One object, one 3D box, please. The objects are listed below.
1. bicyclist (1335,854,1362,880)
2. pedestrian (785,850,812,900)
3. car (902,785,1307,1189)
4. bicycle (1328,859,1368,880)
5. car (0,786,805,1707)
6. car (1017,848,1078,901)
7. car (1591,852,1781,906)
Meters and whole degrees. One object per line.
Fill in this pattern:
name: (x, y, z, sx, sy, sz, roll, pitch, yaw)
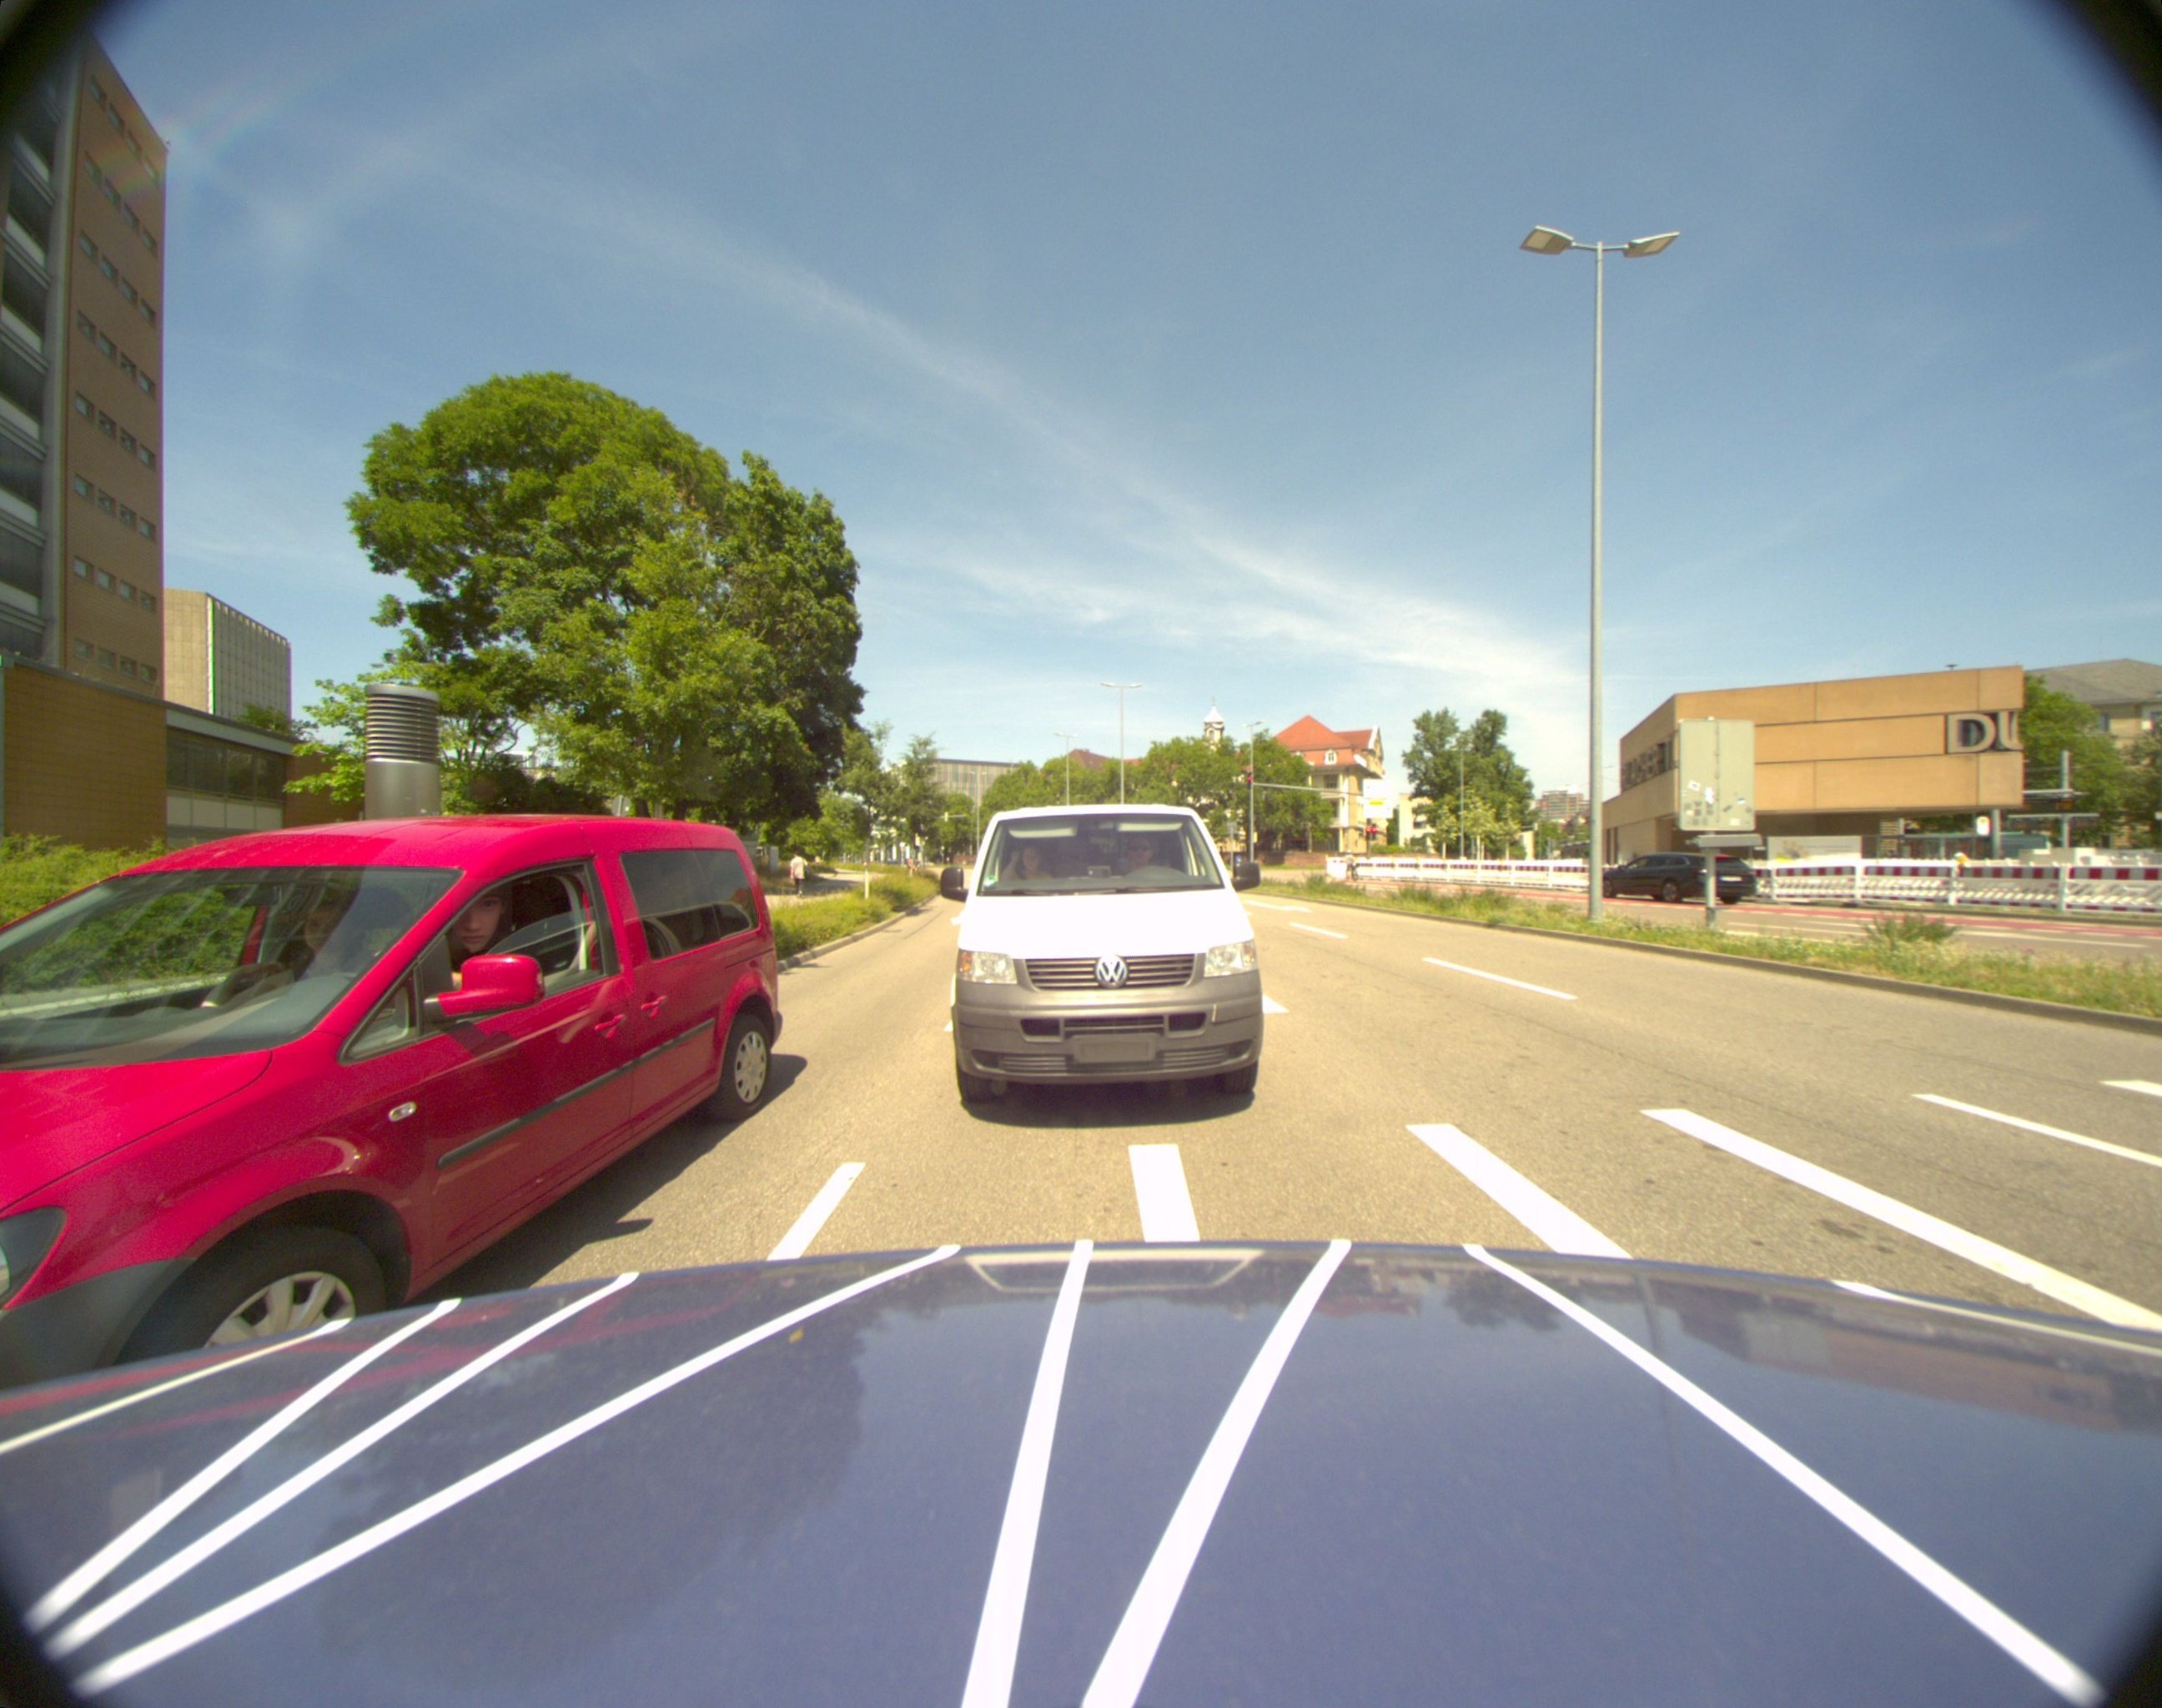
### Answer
bicyclist: (14.322, 0.675, 40.713, 0.587, 1.348, 1.438, -3, 1, -14)
pedestrian: (-10.201, 0.764, 27.489, 0.728, 1.787, 0.614, 0, 1, 1)
car: (0.086, 0.655, 6.235, 1.971, 1.958, 4.848, -2, 0, -1)
bicycle: (14.302, 0.804, 40.759, 0.879, 1.066, 2.229, -2, 1, -14)
car: (-2.843, 0.812, 3.107, 1.655, 1.848, 4.546, -1, 0, 1)
car: (-1.457, 0.778, 31.577, 2.000, 2.002, 3.996, -2, 1, -10)
car: (17.906, 0.677, 22.871, 1.998, 1.456, 4.847, 0, 0, 3)
